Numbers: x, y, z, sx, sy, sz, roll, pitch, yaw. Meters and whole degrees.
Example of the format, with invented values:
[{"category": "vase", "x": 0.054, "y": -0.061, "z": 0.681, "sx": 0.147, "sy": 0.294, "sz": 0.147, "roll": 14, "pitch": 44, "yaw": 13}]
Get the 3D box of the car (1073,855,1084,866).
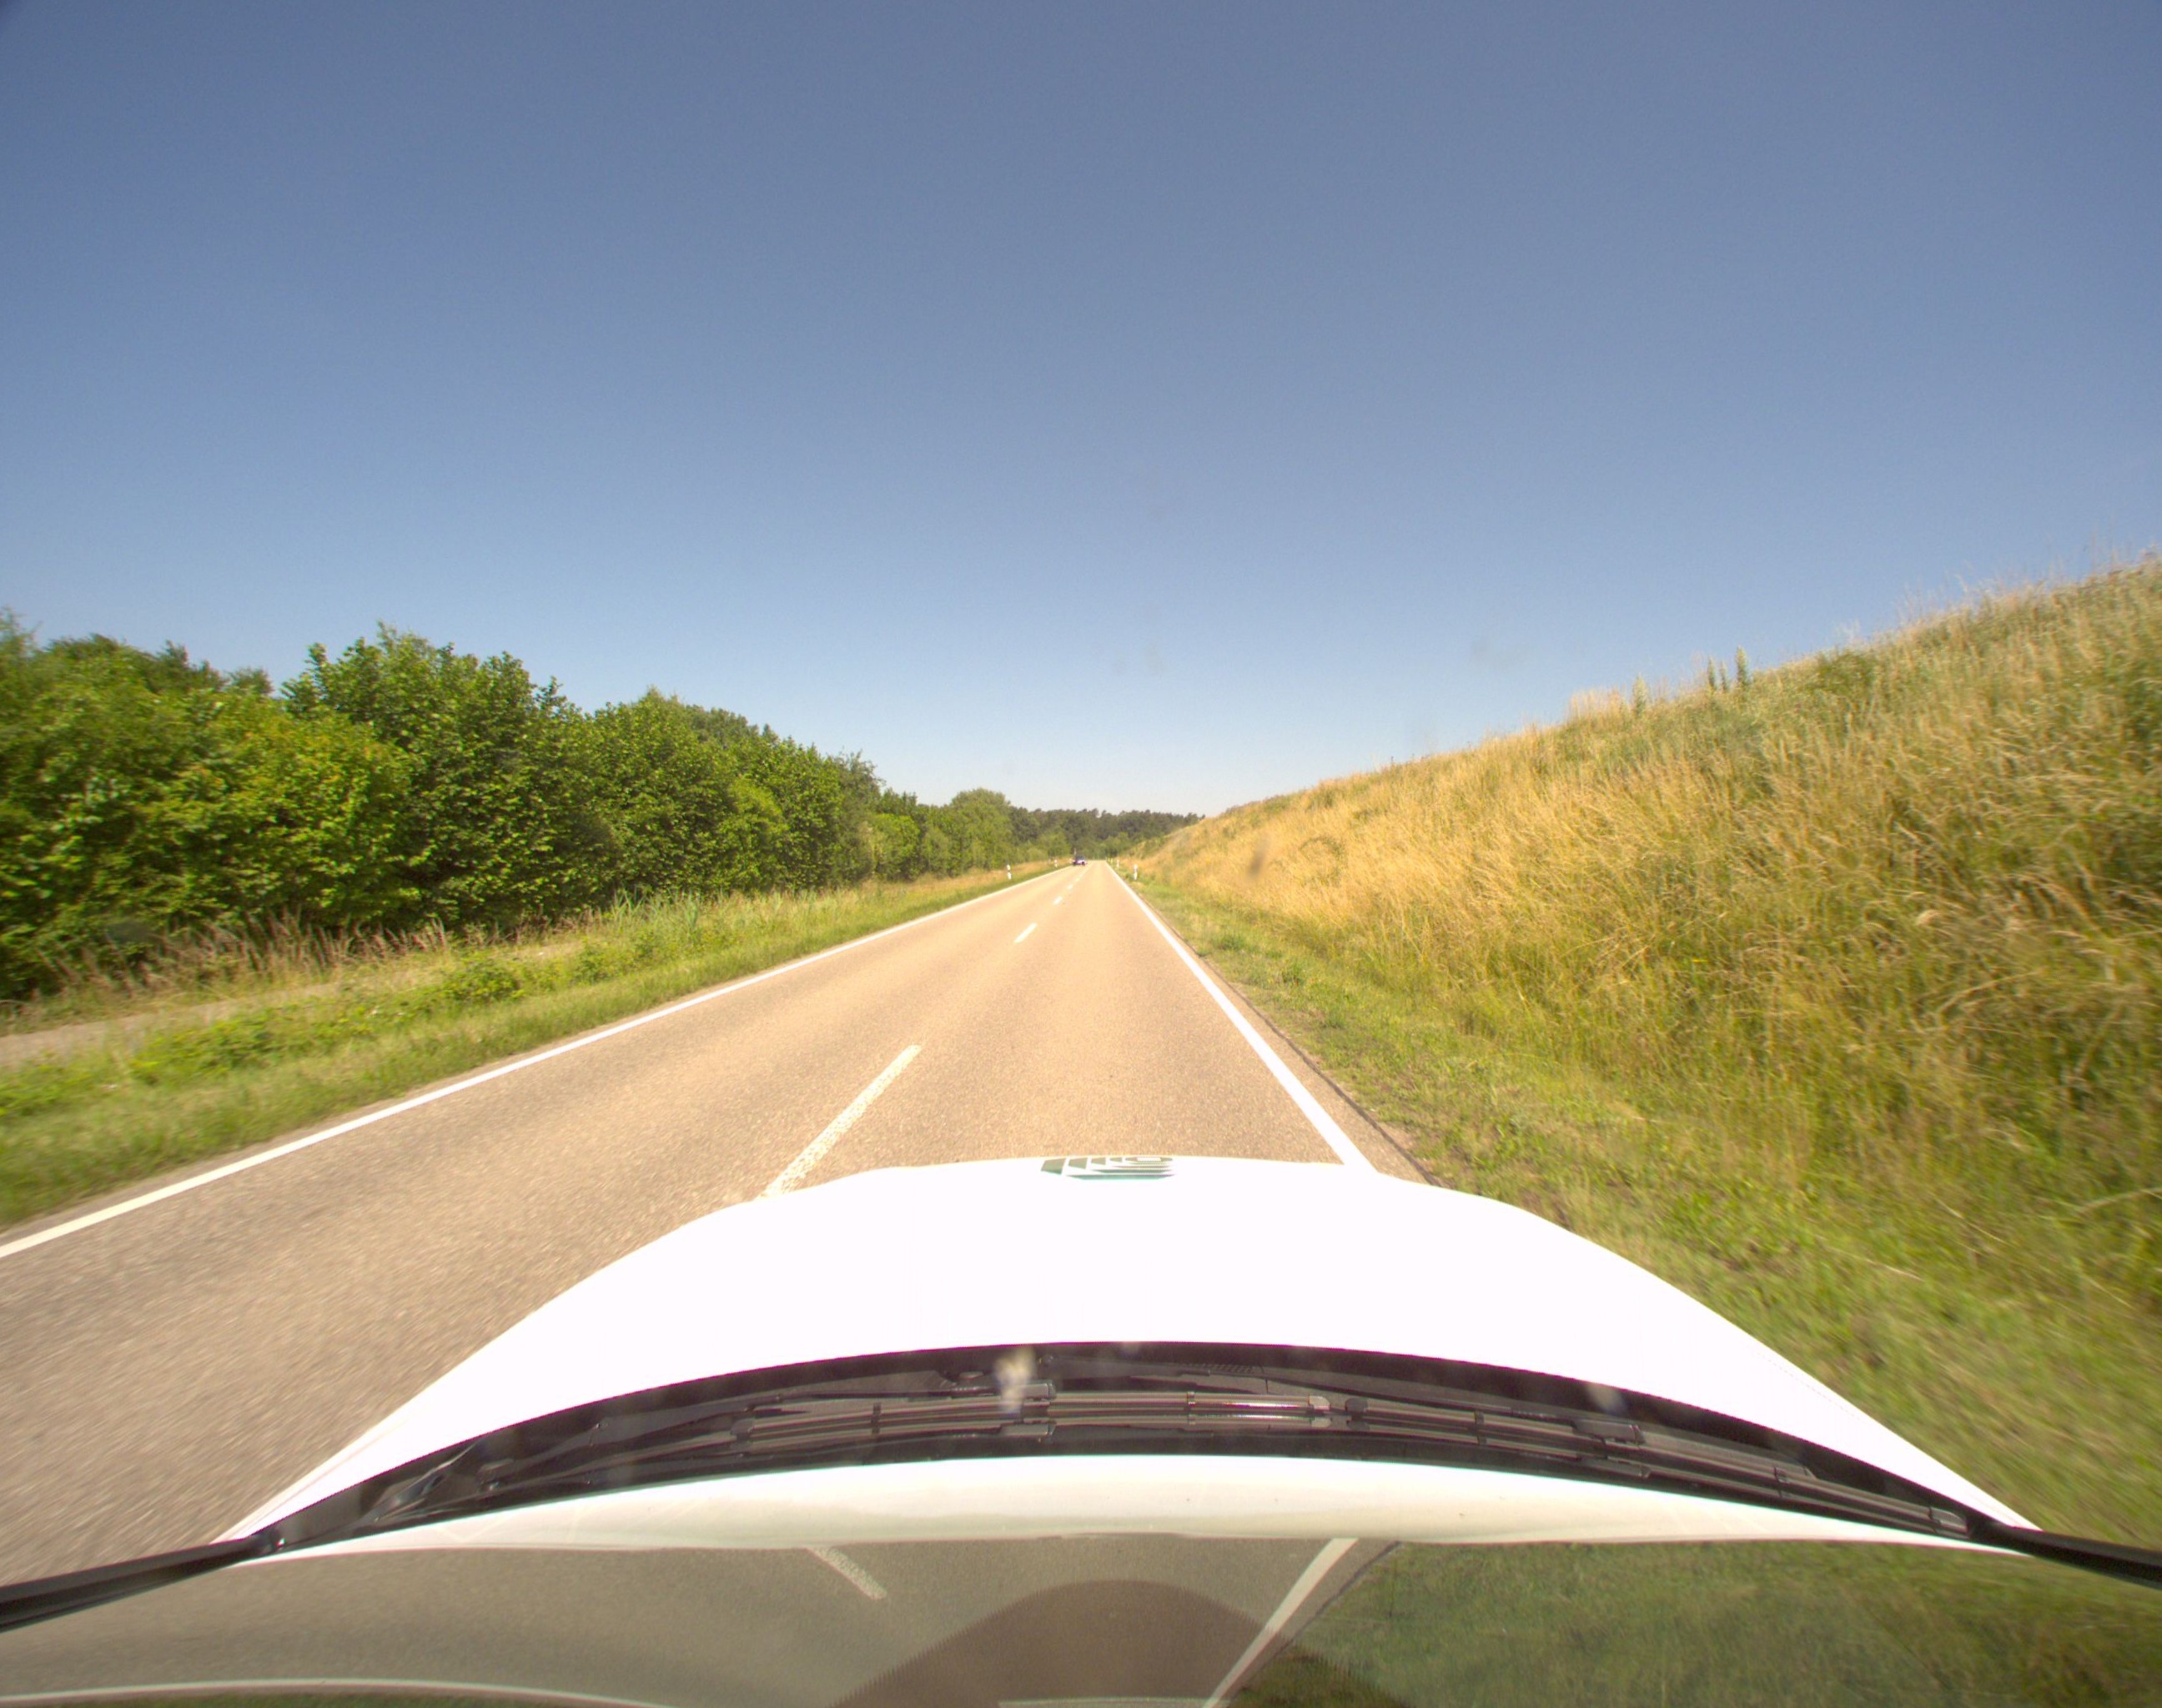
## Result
[{"category": "car", "x": -0.388, "y": 1.060, "z": 125.665, "sx": 1.710, "sy": 1.647, "sz": 3.915, "roll": 0, "pitch": 0, "yaw": 1}]
